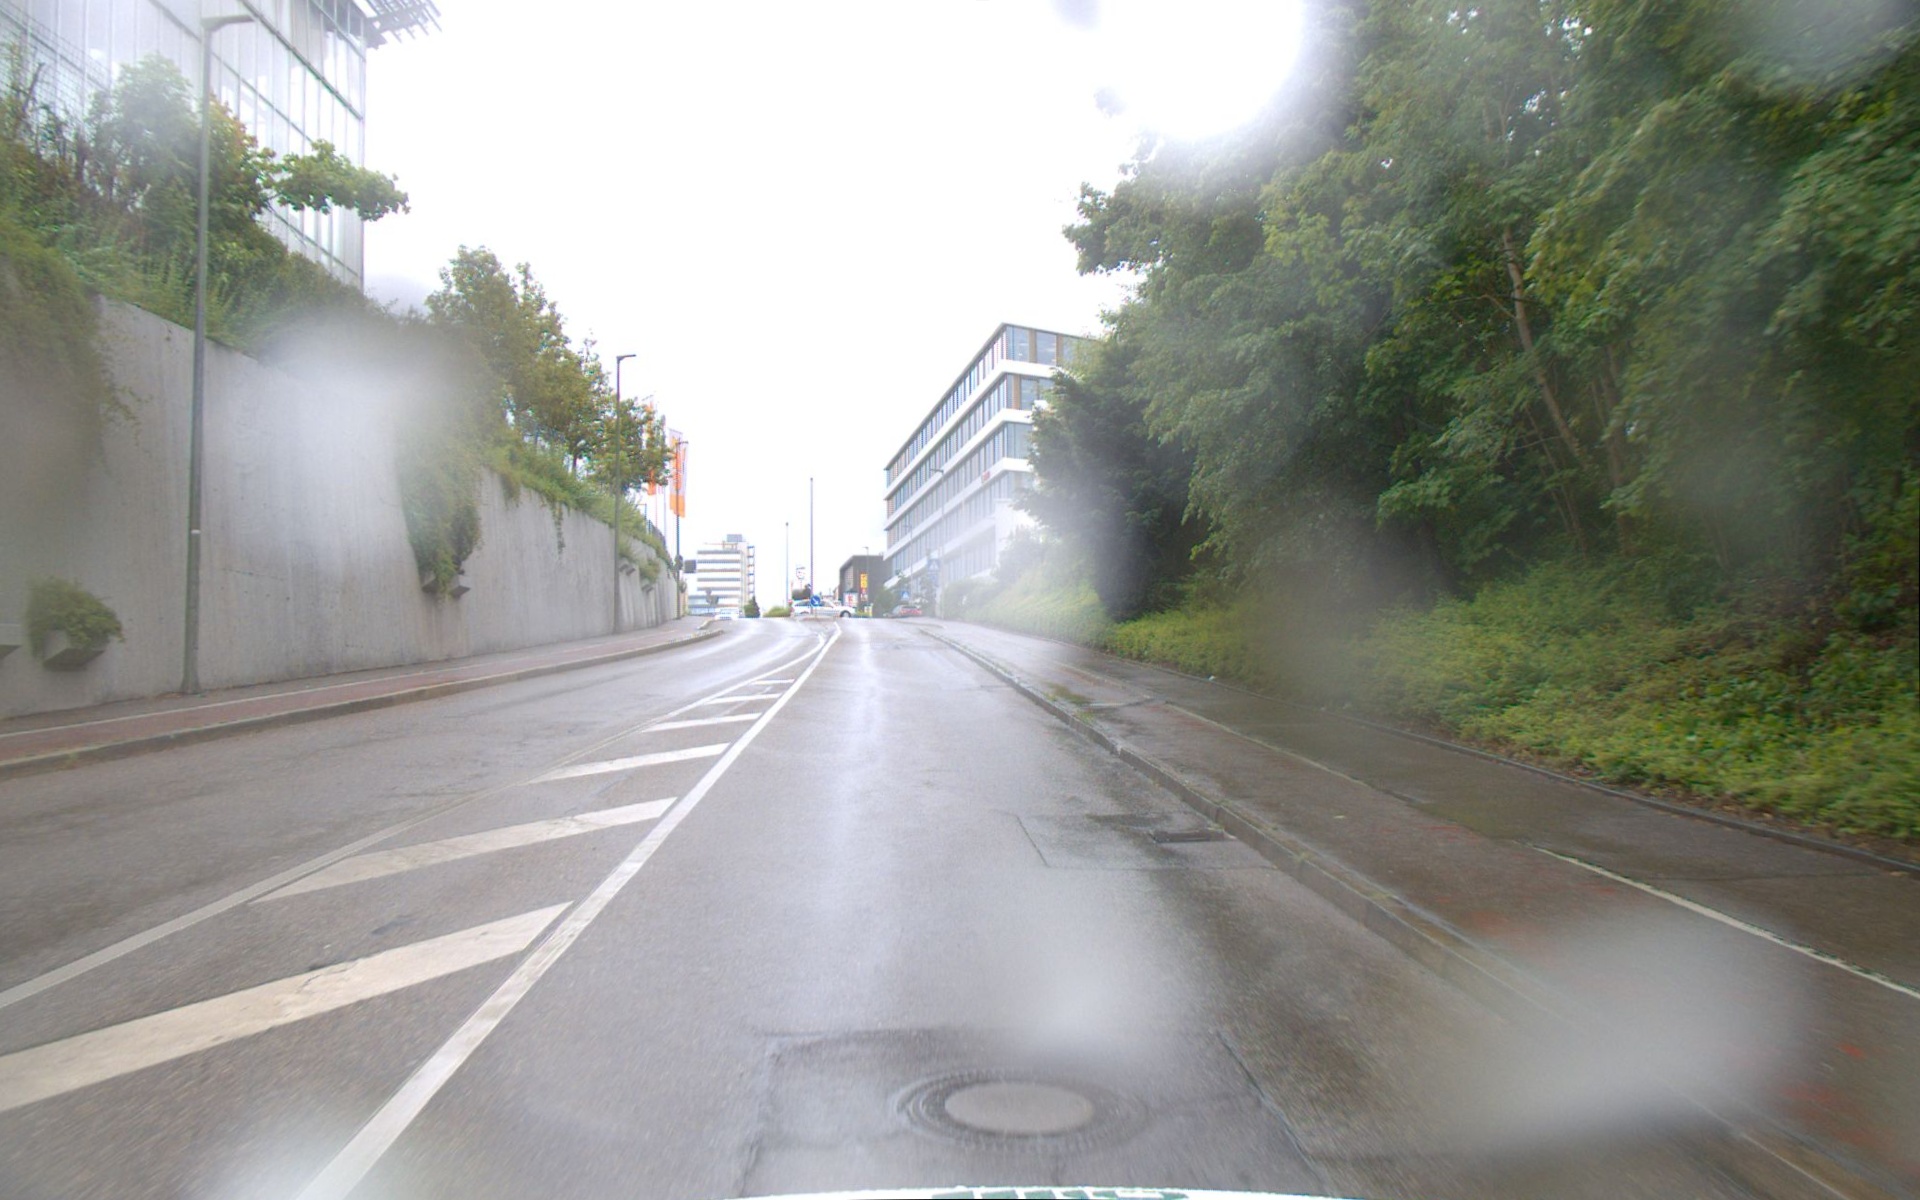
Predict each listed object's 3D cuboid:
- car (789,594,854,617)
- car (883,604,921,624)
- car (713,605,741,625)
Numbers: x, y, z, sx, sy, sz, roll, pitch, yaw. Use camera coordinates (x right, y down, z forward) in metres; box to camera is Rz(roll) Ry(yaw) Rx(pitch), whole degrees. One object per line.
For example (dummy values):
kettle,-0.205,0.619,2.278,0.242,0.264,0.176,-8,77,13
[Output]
car,-9.112,0.362,109.074,4.150,1.386,1.645,2,0,-2
car,-4.250,1.004,120.409,1.765,1.434,4.197,0,0,-16
car,-17.553,1.153,124.842,1.963,1.451,4.772,3,-1,-8
